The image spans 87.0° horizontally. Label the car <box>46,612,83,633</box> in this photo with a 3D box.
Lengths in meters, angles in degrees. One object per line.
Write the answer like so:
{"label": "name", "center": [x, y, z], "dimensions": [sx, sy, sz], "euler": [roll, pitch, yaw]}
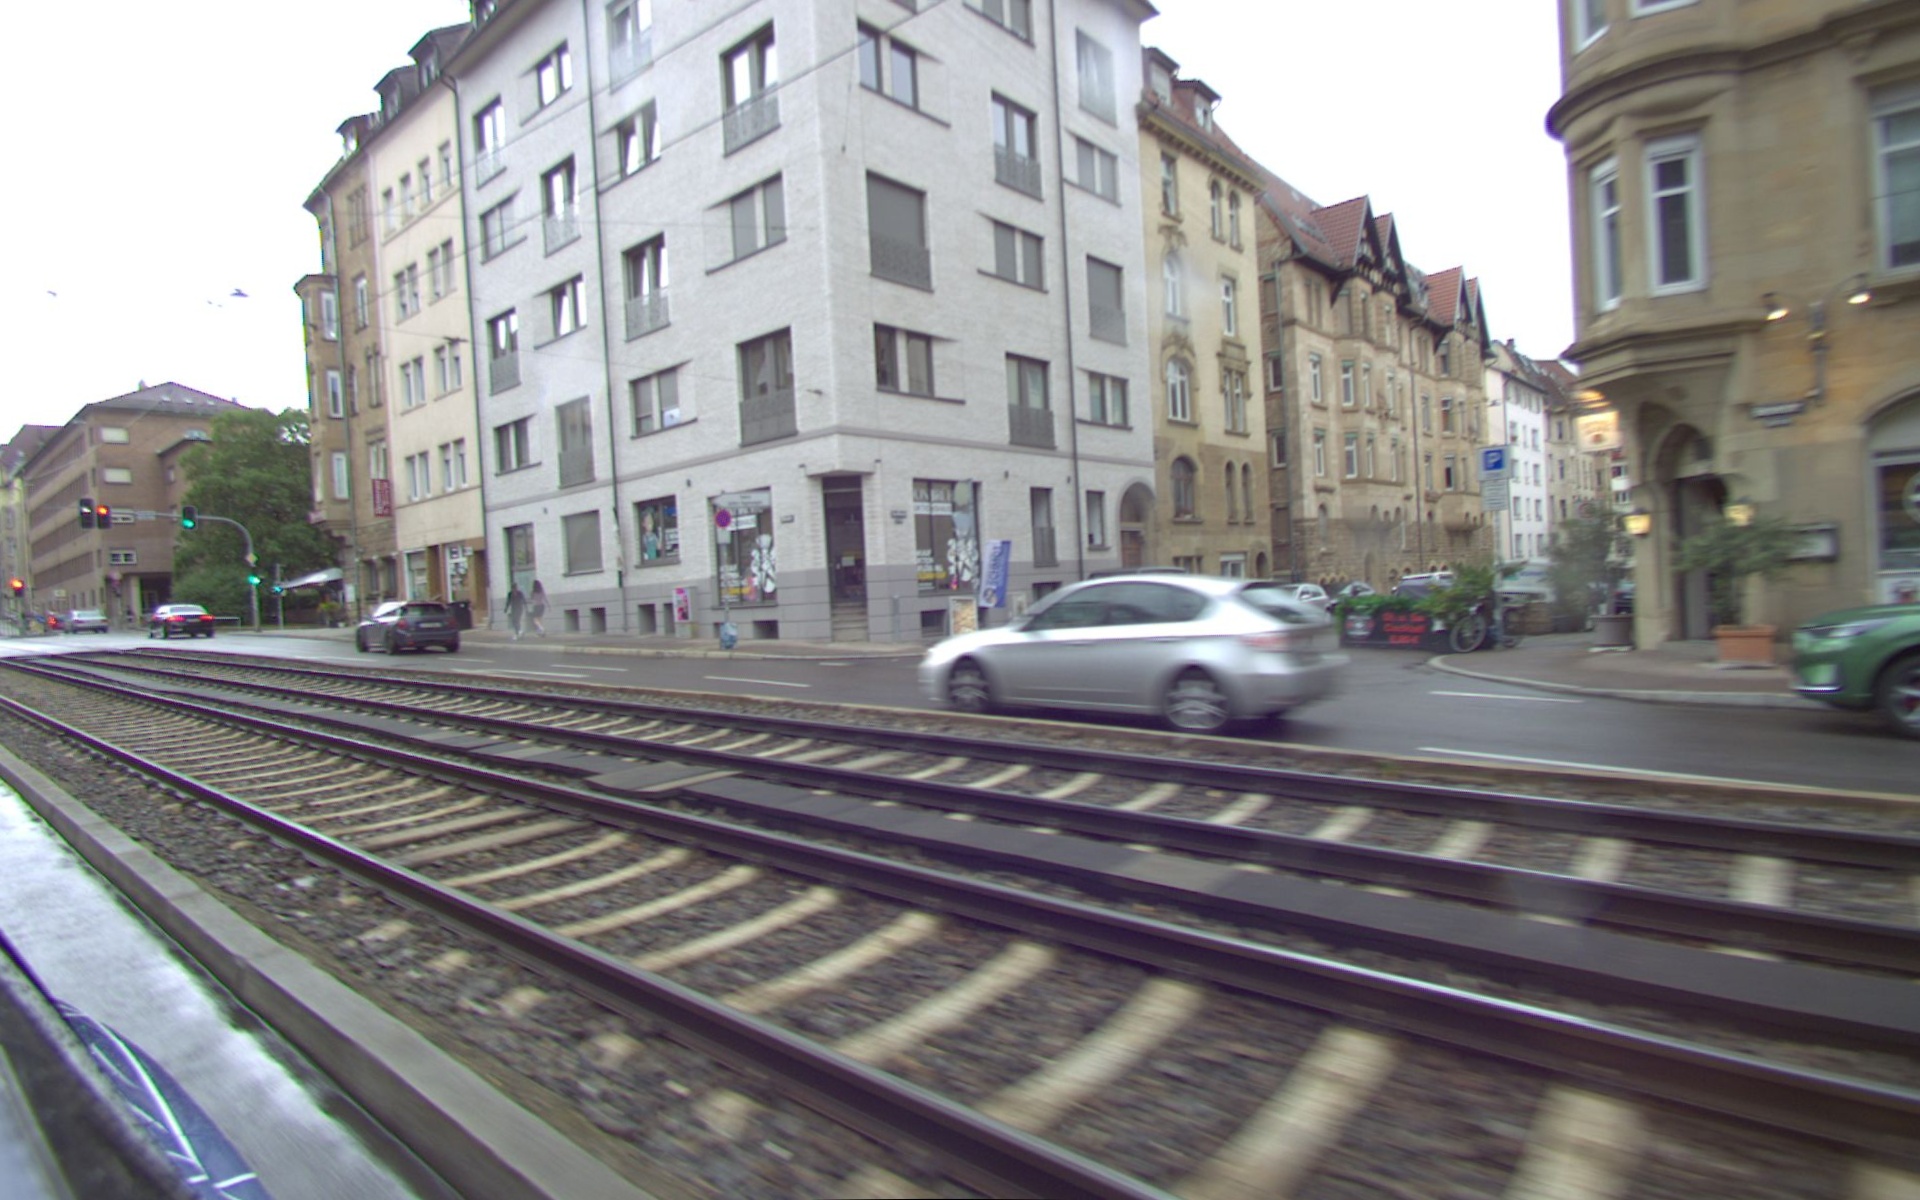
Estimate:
{"label": "car", "center": [-64.712, 1.616, 73.101], "dimensions": [3.386, 1.461, 1.610], "euler": [-1, 1, 42]}

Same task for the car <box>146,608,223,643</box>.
{"label": "car", "center": [-35.717, 1.153, 46.551], "dimensions": [4.860, 1.468, 2.065], "euler": [-1, 0, 43]}

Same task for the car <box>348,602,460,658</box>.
{"label": "car", "center": [-15.429, 0.801, 28.025], "dimensions": [3.782, 1.398, 1.685], "euler": [-1, 0, 44]}

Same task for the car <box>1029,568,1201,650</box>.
{"label": "car", "center": [3.807, 0.153, 24.190], "dimensions": [2.032, 1.741, 4.647], "euler": [-1, 1, 38]}

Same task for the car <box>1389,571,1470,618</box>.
{"label": "car", "center": [20.211, -0.216, 43.445], "dimensions": [1.948, 1.884, 4.734], "euler": [-1, -1, 41]}

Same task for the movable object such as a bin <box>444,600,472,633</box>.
{"label": "movable object such as a bin", "center": [-17.829, 0.590, 35.930], "dimensions": [0.563, 1.088, 0.623], "euler": [-1, 5, 41]}

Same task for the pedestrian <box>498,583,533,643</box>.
{"label": "pedestrian", "center": [-13.293, 0.394, 30.257], "dimensions": [0.746, 1.731, 0.595], "euler": [-1, 3, 44]}

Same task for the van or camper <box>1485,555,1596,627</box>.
{"label": "van or camper", "center": [15.662, -0.199, 27.235], "dimensions": [1.941, 1.789, 3.913], "euler": [-1, -1, 39]}

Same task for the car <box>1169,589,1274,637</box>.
{"label": "car", "center": [7.301, 0.349, 28.118], "dimensions": [1.431, 1.233, 3.477], "euler": [-1, -1, 41]}

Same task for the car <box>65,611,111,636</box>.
{"label": "car", "center": [-55.855, 1.480, 64.792], "dimensions": [4.642, 1.472, 1.694], "euler": [-1, 1, 42]}

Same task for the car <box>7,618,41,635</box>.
{"label": "car", "center": [-80.820, 2.256, 87.367], "dimensions": [3.944, 1.346, 1.758], "euler": [-1, 1, 42]}

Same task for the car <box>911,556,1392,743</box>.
{"label": "car", "center": [1.755, 0.407, 10.069], "dimensions": [4.291, 1.468, 1.961], "euler": [-1, 0, 40]}

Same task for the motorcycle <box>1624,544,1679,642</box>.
{"label": "motorcycle", "center": [12.298, -0.116, 17.978], "dimensions": [0.623, 1.631, 2.054], "euler": [-1, -1, 39]}

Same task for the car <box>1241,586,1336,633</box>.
{"label": "car", "center": [10.242, 0.278, 31.402], "dimensions": [1.431, 1.360, 3.799], "euler": [-1, -1, 41]}

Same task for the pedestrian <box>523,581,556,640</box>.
{"label": "pedestrian", "center": [-12.777, 0.329, 30.722], "dimensions": [0.658, 1.731, 0.595], "euler": [-1, 3, 44]}

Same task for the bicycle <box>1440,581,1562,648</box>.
{"label": "bicycle", "center": [9.516, 0.251, 17.807], "dimensions": [2.100, 1.128, 0.622], "euler": [-1, -1, -20]}

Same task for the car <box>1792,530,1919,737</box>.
{"label": "car", "center": [9.168, 0.225, 7.568], "dimensions": [4.430, 1.614, 1.838], "euler": [-1, 0, 43]}
